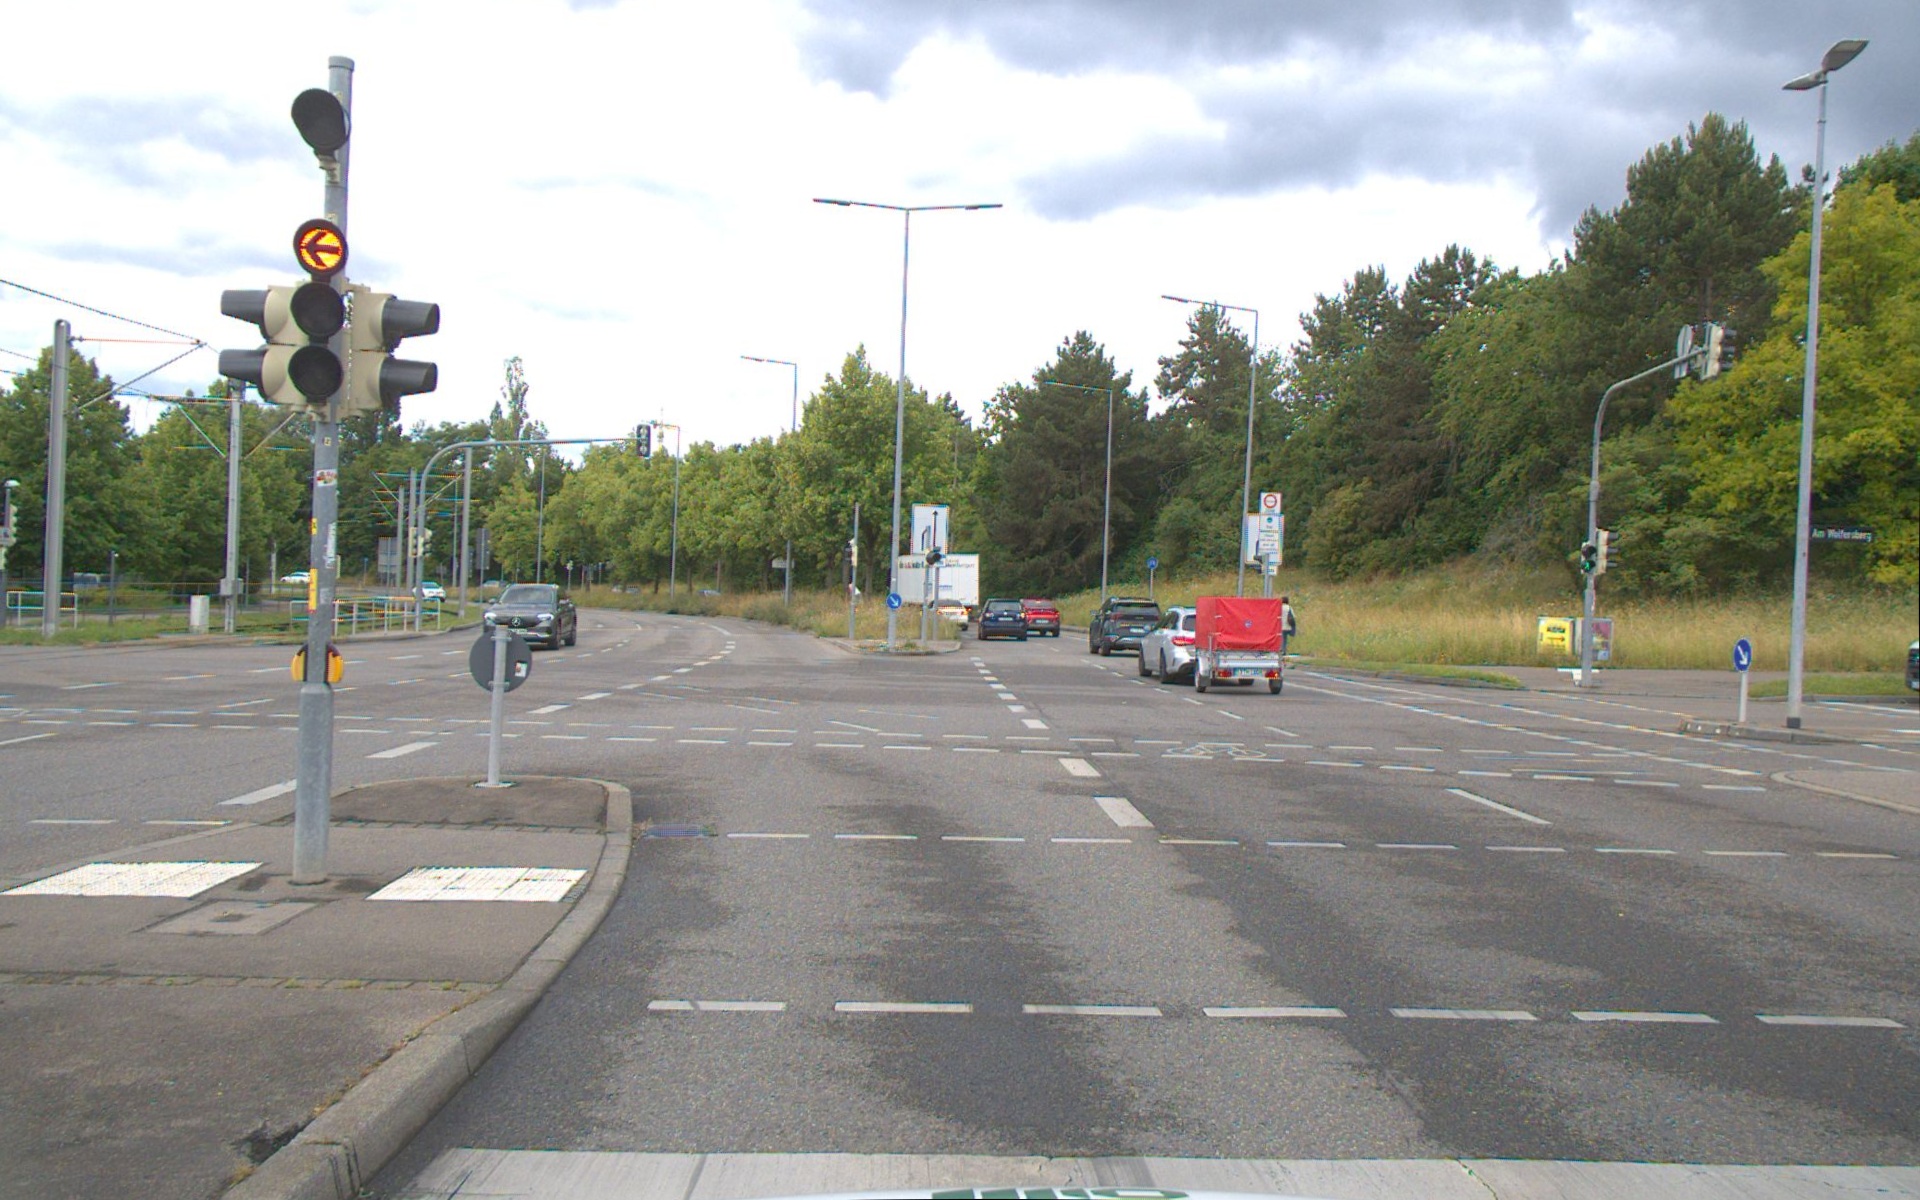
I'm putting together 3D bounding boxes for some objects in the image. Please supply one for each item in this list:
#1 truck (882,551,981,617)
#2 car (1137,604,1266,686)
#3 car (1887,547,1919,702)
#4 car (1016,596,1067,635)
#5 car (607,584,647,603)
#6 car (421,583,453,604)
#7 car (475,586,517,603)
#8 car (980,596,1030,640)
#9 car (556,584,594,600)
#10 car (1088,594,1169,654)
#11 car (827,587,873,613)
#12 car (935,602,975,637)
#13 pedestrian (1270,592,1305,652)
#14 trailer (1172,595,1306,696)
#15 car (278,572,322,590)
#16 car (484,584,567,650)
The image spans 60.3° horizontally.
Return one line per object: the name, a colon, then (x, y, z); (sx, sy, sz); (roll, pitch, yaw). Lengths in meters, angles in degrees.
truck: (-1.744, -0.885, 91.386); (2.695, 3.387, 11.359); (1, 0, -16)
car: (4.719, 0.834, 32.873); (1.742, 1.446, 4.457); (1, 0, -2)
car: (20.337, 0.466, 30.084); (5.772, 2.830, 2.135); (0, 0, -1)
car: (3.413, 0.638, 70.145); (1.742, 1.573, 4.022); (1, 0, -3)
car: (-28.167, -0.571, 139.811); (1.766, 1.573, 3.969); (1, 1, -39)
car: (-42.059, -0.535, 132.878); (1.807, 1.657, 4.387); (0, 0, -27)
car: (-43.452, -0.505, 154.955); (3.945, 1.573, 1.777); (1, 0, 37)
car: (1.728, 0.650, 62.452); (1.741, 1.573, 4.026); (1, 0, 3)
car: (-40.995, -0.848, 176.307); (1.744, 1.573, 4.018); (1, 0, 29)
car: (4.768, 0.654, 47.157); (1.742, 1.573, 4.023); (1, 0, -2)
car: (-7.029, -0.033, 105.509); (1.753, 1.573, 3.998); (1, 0, -22)
car: (-0.265, 0.914, 79.537); (1.742, 1.573, 4.023); (1, 0, -2)
pedestrian: (9.161, 0.602, 46.317); (0.797, 1.656, 0.790); (1, 0, -1)
trailer: (4.853, 0.753, 29.115); (1.729, 1.644, 3.043); (1, 0, -2)
car: (-68.017, -1.937, 170.557); (3.905, 1.780, 2.000); (1, 0, 22)
car: (-10.989, 0.401, 42.064); (1.746, 1.573, 4.213); (1, 0, -11)
